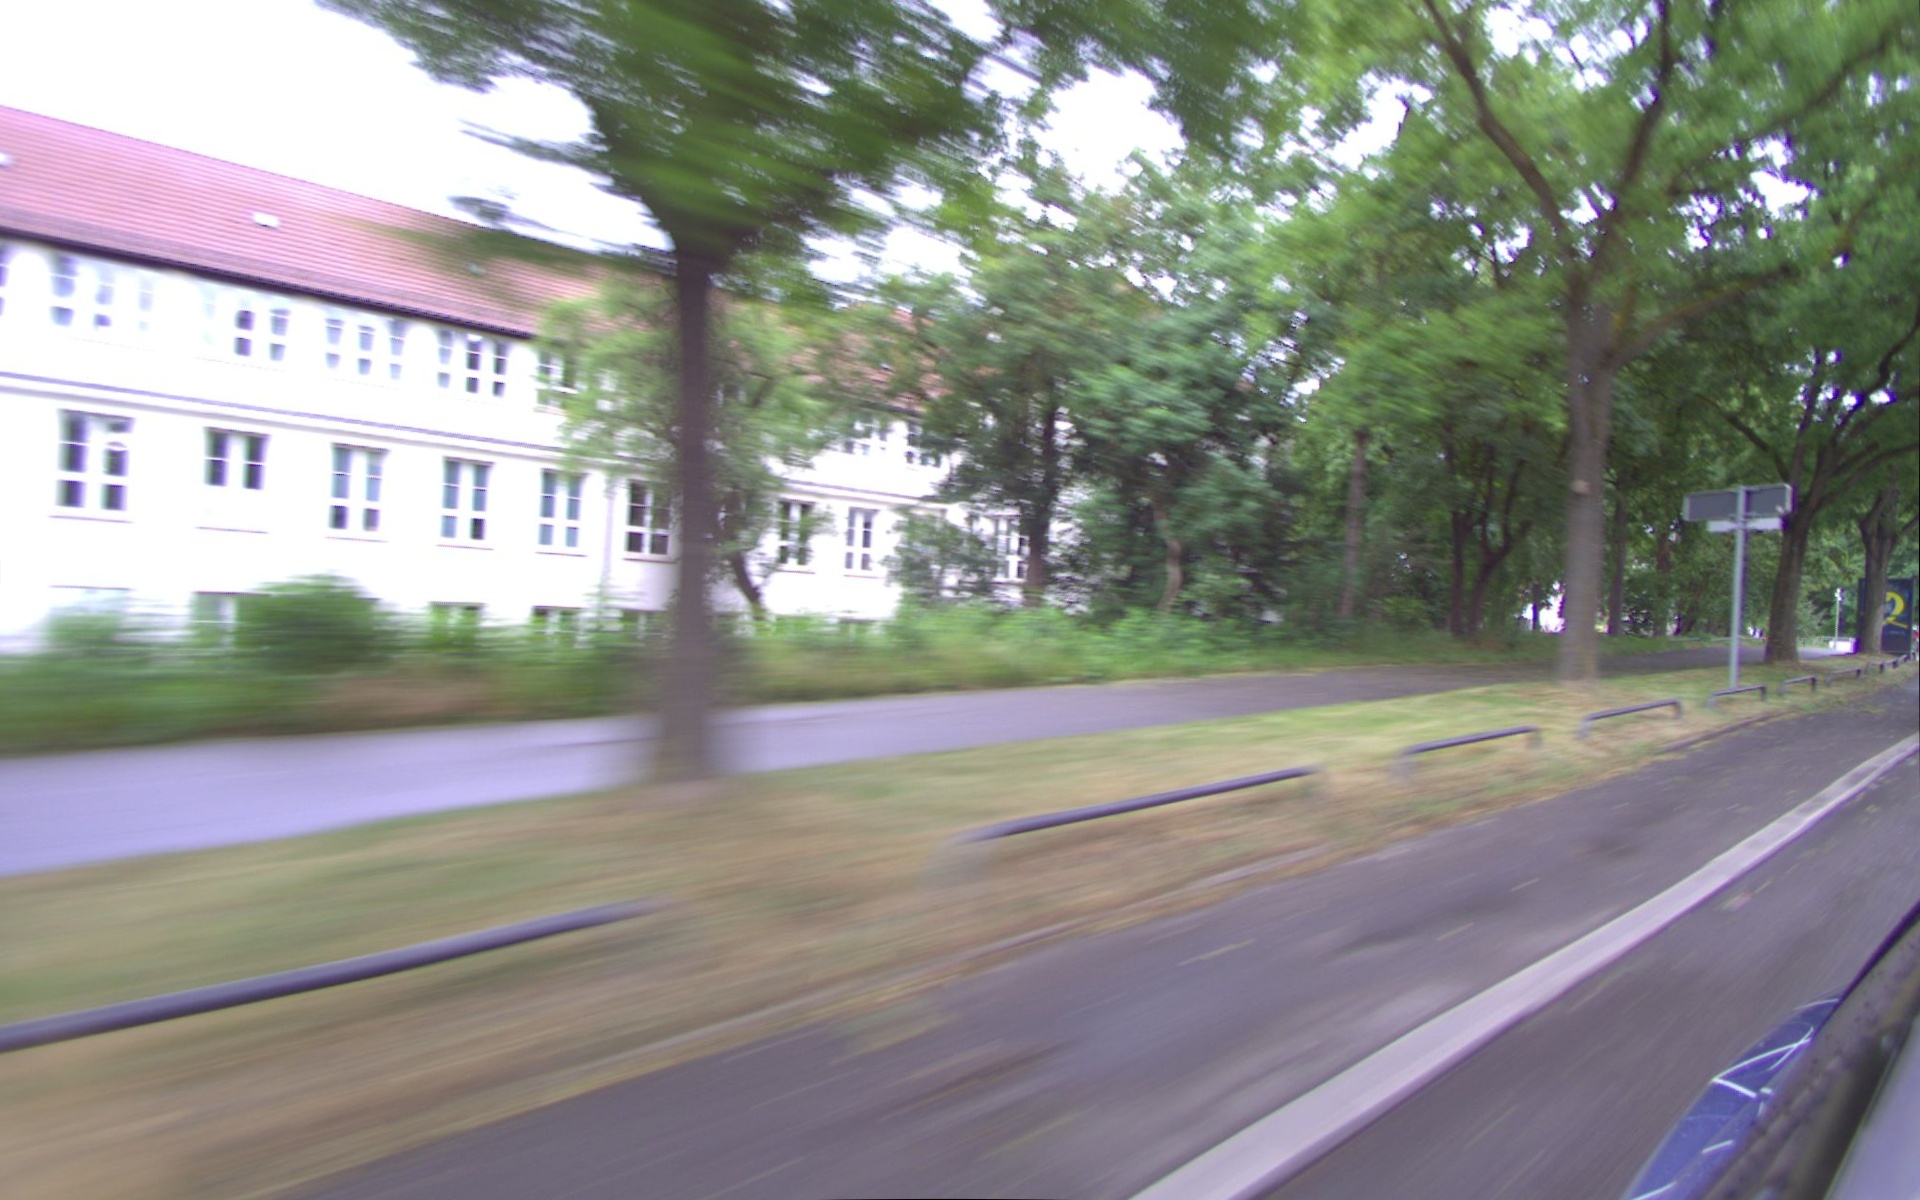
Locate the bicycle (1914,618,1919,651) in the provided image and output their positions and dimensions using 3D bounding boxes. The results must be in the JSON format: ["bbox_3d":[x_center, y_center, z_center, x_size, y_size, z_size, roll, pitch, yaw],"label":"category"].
[{"bbox_3d":[34.822,1.293,35.805,1.486,1.145,0.548,6,3,44],"label":"bicycle"}]

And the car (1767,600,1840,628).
[{"bbox_3d":[65.682,1.070,78.856,3.928,2.039,1.998,2,-1,4],"label":"car"}]

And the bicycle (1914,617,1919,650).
[{"bbox_3d":[34.171,1.239,35.101,1.486,1.145,0.548,6,3,44],"label":"bicycle"}]

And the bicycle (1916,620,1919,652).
[{"bbox_3d":[35.557,1.356,36.492,1.486,1.145,0.548,6,3,44],"label":"bicycle"}]
